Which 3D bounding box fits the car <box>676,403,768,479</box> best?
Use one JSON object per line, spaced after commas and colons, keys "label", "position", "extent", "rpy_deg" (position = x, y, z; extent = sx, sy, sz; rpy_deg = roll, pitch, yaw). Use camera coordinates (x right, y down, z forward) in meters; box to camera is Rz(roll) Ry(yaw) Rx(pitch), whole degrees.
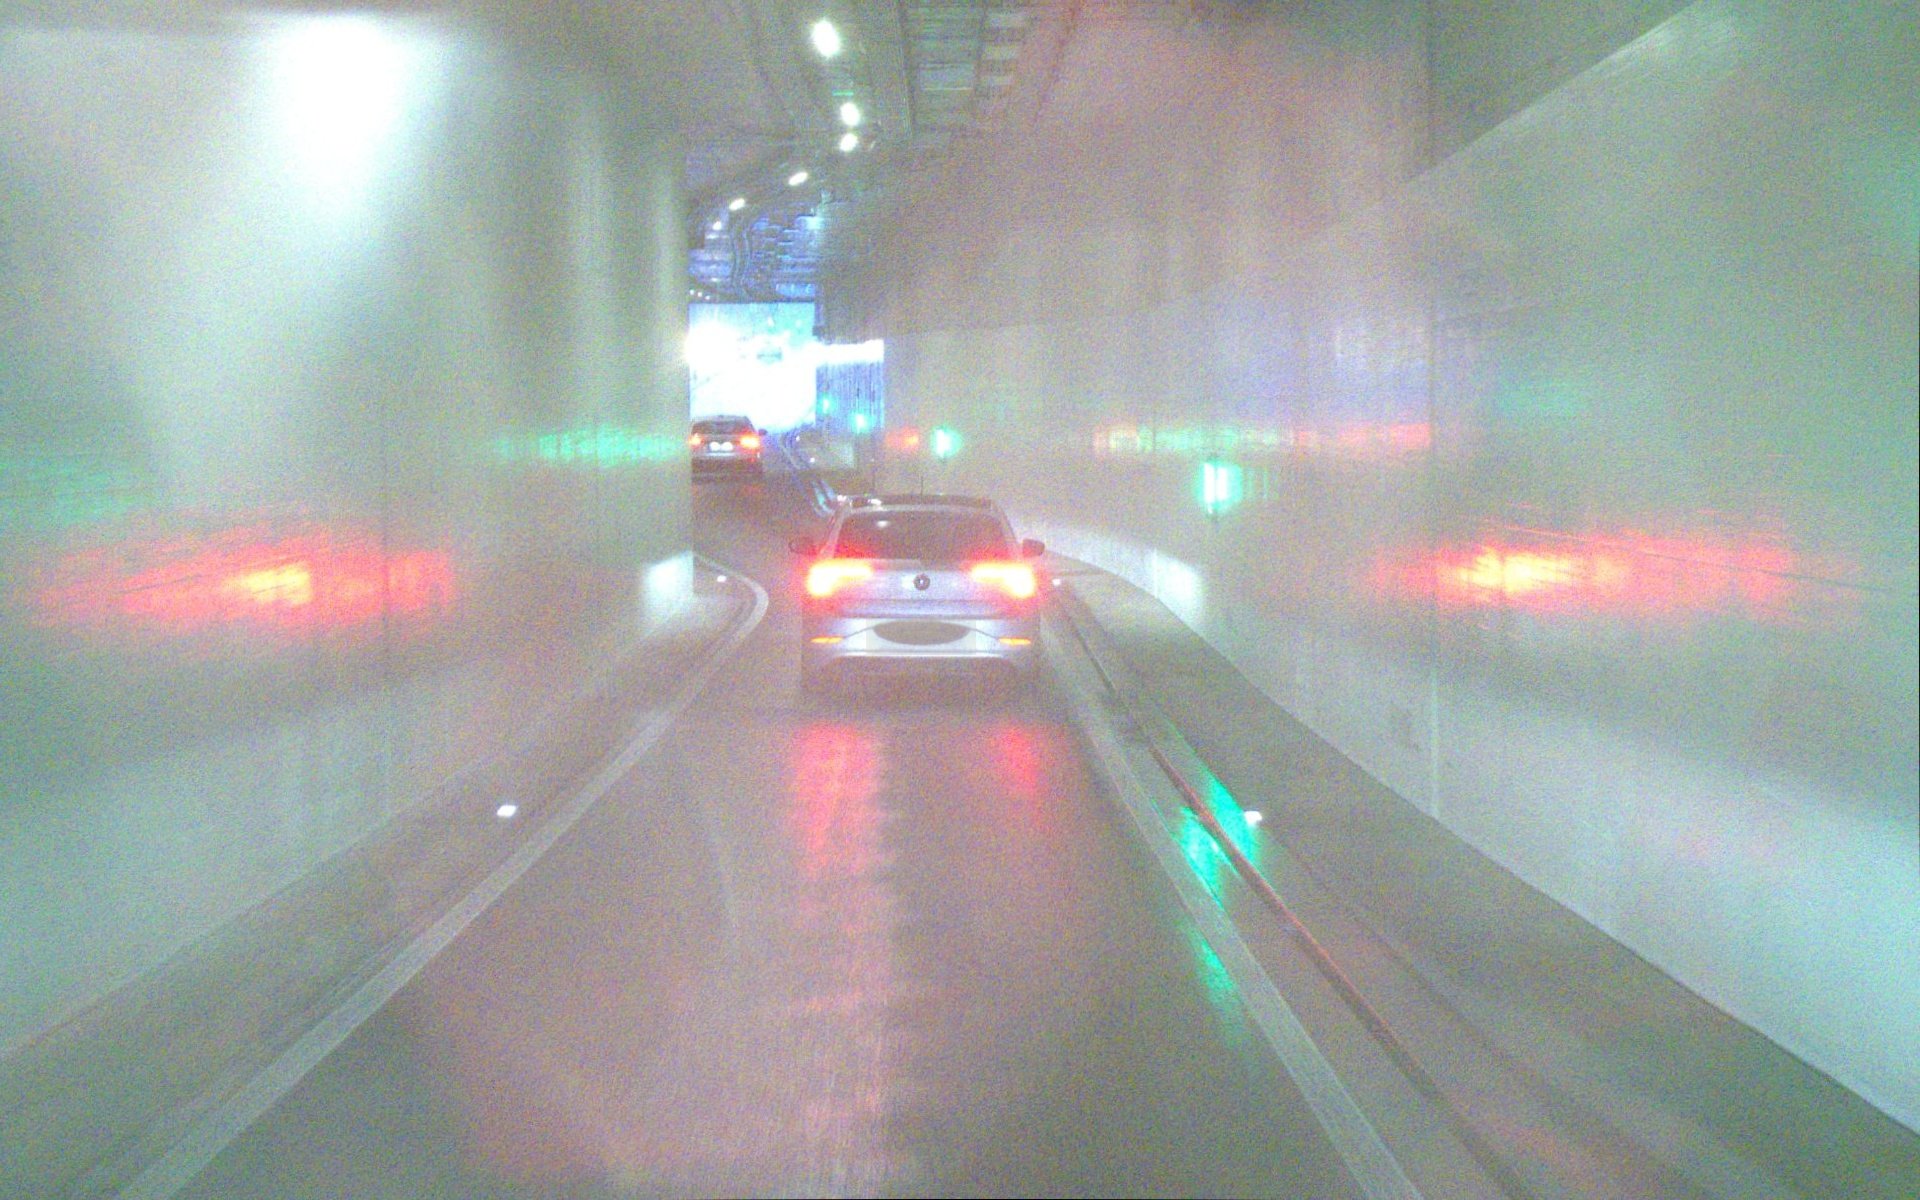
{"label": "car", "position": [-5.329, -3.542, 76.608], "extent": [1.880, 1.615, 4.001], "rpy_deg": [1, 3, -6]}

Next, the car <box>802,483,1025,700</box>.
{"label": "car", "position": [-0.343, -0.116, 25.613], "extent": [1.532, 1.392, 3.435], "rpy_deg": [1, 4, -1]}
